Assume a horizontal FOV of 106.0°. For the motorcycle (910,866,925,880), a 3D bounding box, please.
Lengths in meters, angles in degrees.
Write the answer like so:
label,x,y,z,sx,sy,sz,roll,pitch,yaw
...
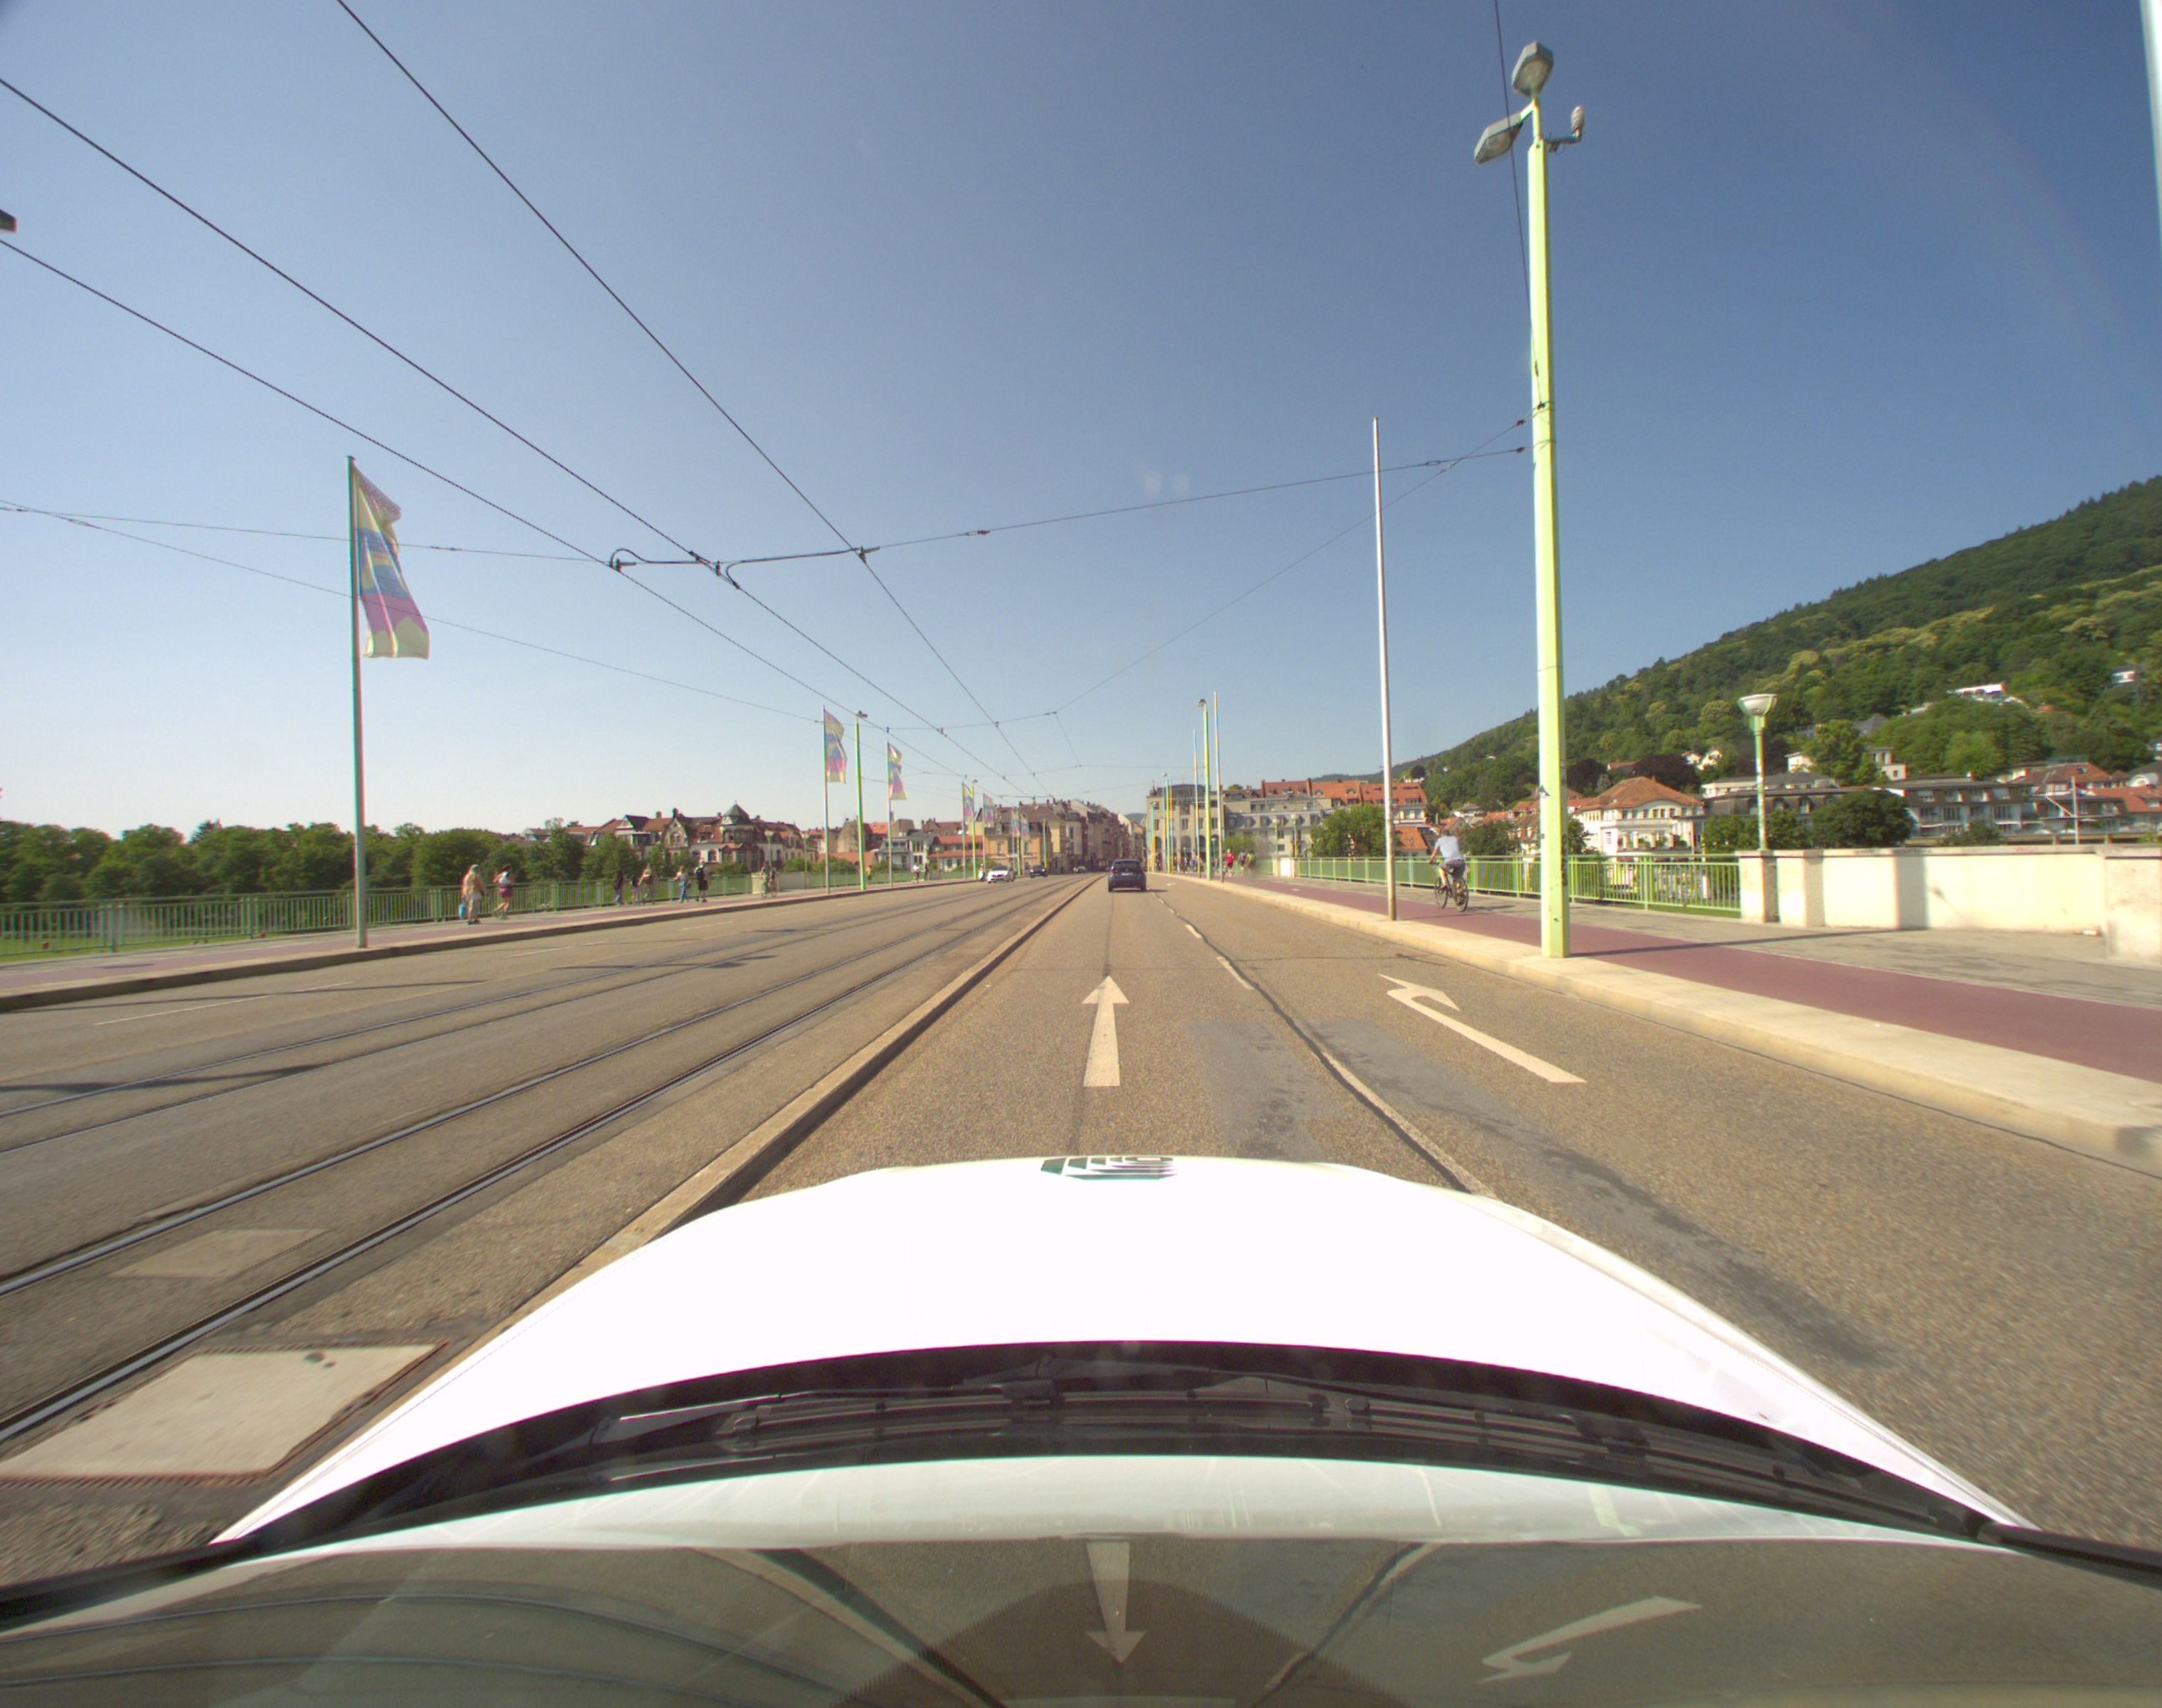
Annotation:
label,x,y,z,sx,sy,sz,roll,pitch,yaw
motorcycle,-13.588,1.585,67.636,0.698,1.110,2.180,-1,-1,2

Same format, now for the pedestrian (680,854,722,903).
label,x,y,z,sx,sy,sz,roll,pitch,yaw
pedestrian,-16.039,1.009,34.400,1.094,2.013,1.295,-1,0,0

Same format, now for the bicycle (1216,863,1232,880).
label,x,y,z,sx,sy,sz,roll,pitch,yaw
bicycle,8.755,1.062,50.048,0.616,1.037,2.051,-1,-1,1

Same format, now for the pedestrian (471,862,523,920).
label,x,y,z,sx,sy,sz,roll,pitch,yaw
pedestrian,-17.737,1.112,24.760,0.752,1.722,1.175,-1,-1,0

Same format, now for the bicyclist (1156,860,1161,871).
label,x,y,z,sx,sy,sz,roll,pitch,yaw
bicyclist,10.435,1.556,109.809,0.650,1.567,1.339,-3,-2,4

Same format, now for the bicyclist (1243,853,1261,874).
label,x,y,z,sx,sy,sz,roll,pitch,yaw
bicyclist,8.853,0.477,42.106,0.665,1.045,0.979,-1,-1,-2

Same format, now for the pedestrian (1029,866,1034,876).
label,x,y,z,sx,sy,sz,roll,pitch,yaw
pedestrian,-9.121,3.134,150.799,0.759,1.665,0.664,-2,-1,4

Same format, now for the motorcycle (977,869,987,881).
label,x,y,z,sx,sy,sz,roll,pitch,yaw
motorcycle,-9.725,2.072,80.007,0.698,1.110,2.180,-1,-1,2

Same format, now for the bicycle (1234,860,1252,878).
label,x,y,z,sx,sy,sz,roll,pitch,yaw
bicycle,9.536,0.883,47.882,0.616,1.037,2.266,-1,-1,1

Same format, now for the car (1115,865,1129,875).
label,x,y,z,sx,sy,sz,roll,pitch,yaw
car,6.208,2.439,124.467,1.798,1.469,3.999,-3,-1,0

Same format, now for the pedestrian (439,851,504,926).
label,x,y,z,sx,sy,sz,roll,pitch,yaw
pedestrian,-17.082,0.941,22.867,0.966,2.013,1.100,-1,0,-3

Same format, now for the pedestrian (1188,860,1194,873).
label,x,y,z,sx,sy,sz,roll,pitch,yaw
pedestrian,12.107,1.386,89.672,0.611,1.466,0.848,-1,-1,2

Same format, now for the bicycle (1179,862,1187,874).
label,x,y,z,sx,sy,sz,roll,pitch,yaw
bicycle,10.560,1.448,84.489,0.524,1.178,2.029,-1,-1,1

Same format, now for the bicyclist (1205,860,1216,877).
label,x,y,z,sx,sy,sz,roll,pitch,yaw
bicyclist,8.690,0.948,54.636,0.595,1.101,0.855,-2,-1,12

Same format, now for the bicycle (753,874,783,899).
label,x,y,z,sx,sy,sz,roll,pitch,yaw
bicycle,-15.073,1.557,39.269,0.587,1.096,2.112,-1,0,0

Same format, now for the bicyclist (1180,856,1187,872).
label,x,y,z,sx,sy,sz,roll,pitch,yaw
bicyclist,10.584,1.045,84.184,0.625,1.689,0.869,-1,-1,1

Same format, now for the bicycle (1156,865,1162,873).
label,x,y,z,sx,sy,sz,roll,pitch,yaw
bicycle,10.459,2.058,109.721,0.650,0.981,2.180,-3,-1,4

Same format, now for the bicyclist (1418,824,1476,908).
label,x,y,z,sx,sy,sz,roll,pitch,yaw
bicyclist,7.962,0.258,17.773,0.671,1.744,1.149,-2,0,-2

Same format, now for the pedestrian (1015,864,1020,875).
label,x,y,z,sx,sy,sz,roll,pitch,yaw
pedestrian,-10.957,2.704,140.459,0.759,1.787,0.664,-2,-1,4

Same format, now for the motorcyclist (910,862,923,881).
label,x,y,z,sx,sy,sz,roll,pitch,yaw
motorcyclist,-13.618,1.448,67.561,0.797,1.549,1.069,-1,-1,2

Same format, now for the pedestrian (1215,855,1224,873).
label,x,y,z,sx,sy,sz,roll,pitch,yaw
pedestrian,12.630,0.910,74.370,0.597,1.586,0.867,-1,-1,0

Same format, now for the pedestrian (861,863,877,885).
label,x,y,z,sx,sy,sz,roll,pitch,yaw
pedestrian,-16.411,1.521,63.156,0.894,1.658,1.030,-1,-1,5

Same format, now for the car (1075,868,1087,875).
label,x,y,z,sx,sy,sz,roll,pitch,yaw
car,-0.007,3.780,177.801,1.983,1.479,4.008,-2,-1,7

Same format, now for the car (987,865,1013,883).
label,x,y,z,sx,sy,sz,roll,pitch,yaw
car,-6.759,1.671,68.394,1.990,1.409,4.539,-1,-1,-5

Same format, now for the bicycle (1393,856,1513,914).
label,x,y,z,sx,sy,sz,roll,pitch,yaw
bicycle,8.000,0.610,17.813,0.790,1.096,3.742,-2,0,-2

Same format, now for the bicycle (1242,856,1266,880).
label,x,y,z,sx,sy,sz,roll,pitch,yaw
bicycle,8.849,0.713,41.825,0.693,1.193,2.077,-2,-1,-2

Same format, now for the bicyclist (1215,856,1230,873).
label,x,y,z,sx,sy,sz,roll,pitch,yaw
bicyclist,8.719,0.639,50.175,0.732,1.030,1.175,-1,-1,1

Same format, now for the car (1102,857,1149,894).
label,x,y,z,sx,sy,sz,roll,pitch,yaw
car,2.010,0.952,37.941,1.904,1.540,4.000,-2,0,0

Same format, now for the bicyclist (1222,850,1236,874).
label,x,y,z,sx,sy,sz,roll,pitch,yaw
bicyclist,10.119,0.538,55.624,0.732,1.635,0.867,-1,-1,0

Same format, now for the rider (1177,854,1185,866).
label,x,y,z,sx,sy,sz,roll,pitch,yaw
rider,12.949,0.744,105.151,0.886,1.505,0.841,-1,-1,1

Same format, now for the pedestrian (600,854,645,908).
label,x,y,z,sx,sy,sz,roll,pitch,yaw
pedestrian,-17.865,1.034,31.756,1.094,2.013,1.129,-1,0,0

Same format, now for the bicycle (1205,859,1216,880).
label,x,y,z,sx,sy,sz,roll,pitch,yaw
bicycle,8.686,1.007,54.518,0.531,1.367,2.223,-2,-1,12

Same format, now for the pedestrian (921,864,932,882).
label,x,y,z,sx,sy,sz,roll,pitch,yaw
pedestrian,-15.435,1.882,81.565,0.827,1.722,1.095,-2,-1,3

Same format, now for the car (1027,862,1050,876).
label,x,y,z,sx,sy,sz,roll,pitch,yaw
car,-5.334,1.897,102.524,1.981,1.599,4.349,-2,-1,9

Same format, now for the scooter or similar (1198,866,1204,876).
label,x,y,z,sx,sy,sz,roll,pitch,yaw
scooter or similar,13.596,1.945,92.116,0.586,1.069,0.865,-1,-1,0

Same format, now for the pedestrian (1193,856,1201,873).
label,x,y,z,sx,sy,sz,roll,pitch,yaw
pedestrian,12.683,1.180,88.932,0.710,1.811,0.848,-1,-1,2

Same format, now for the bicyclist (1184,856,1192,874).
label,x,y,z,sx,sy,sz,roll,pitch,yaw
bicyclist,10.405,1.084,79.010,0.654,1.676,0.869,-1,-1,0

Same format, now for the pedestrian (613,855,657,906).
label,x,y,z,sx,sy,sz,roll,pitch,yaw
pedestrian,-18.000,1.047,32.884,1.094,2.013,1.129,-1,0,0

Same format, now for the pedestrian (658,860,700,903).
label,x,y,z,sx,sy,sz,roll,pitch,yaw
pedestrian,-17.015,1.147,34.528,1.094,1.729,1.295,-1,0,0

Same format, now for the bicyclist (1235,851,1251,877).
label,x,y,z,sx,sy,sz,roll,pitch,yaw
bicyclist,9.542,0.596,47.922,0.732,1.500,0.980,-1,-1,1

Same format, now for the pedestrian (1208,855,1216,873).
label,x,y,z,sx,sy,sz,roll,pitch,yaw
pedestrian,11.937,0.940,74.343,0.597,1.586,0.867,-1,-1,0

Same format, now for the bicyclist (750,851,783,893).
label,x,y,z,sx,sy,sz,roll,pitch,yaw
bicyclist,-15.123,0.854,39.219,1.094,1.961,1.129,-1,0,0

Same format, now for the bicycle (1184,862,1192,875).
label,x,y,z,sx,sy,sz,roll,pitch,yaw
bicycle,10.425,1.419,79.296,0.591,1.178,1.940,-1,-1,1

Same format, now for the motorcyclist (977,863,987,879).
label,x,y,z,sx,sy,sz,roll,pitch,yaw
motorcyclist,-9.737,1.689,80.110,0.824,1.574,0.832,-1,-1,2

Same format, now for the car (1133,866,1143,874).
label,x,y,z,sx,sy,sz,roll,pitch,yaw
car,10.814,3.048,154.442,1.795,1.469,4.005,-3,-1,5

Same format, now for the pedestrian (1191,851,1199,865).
label,x,y,z,sx,sy,sz,roll,pitch,yaw
pedestrian,14.008,0.529,99.876,0.830,1.689,0.869,-2,0,2

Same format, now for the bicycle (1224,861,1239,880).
label,x,y,z,sx,sy,sz,roll,pitch,yaw
bicycle,10.235,1.092,55.458,0.616,1.271,2.216,-1,-1,1
